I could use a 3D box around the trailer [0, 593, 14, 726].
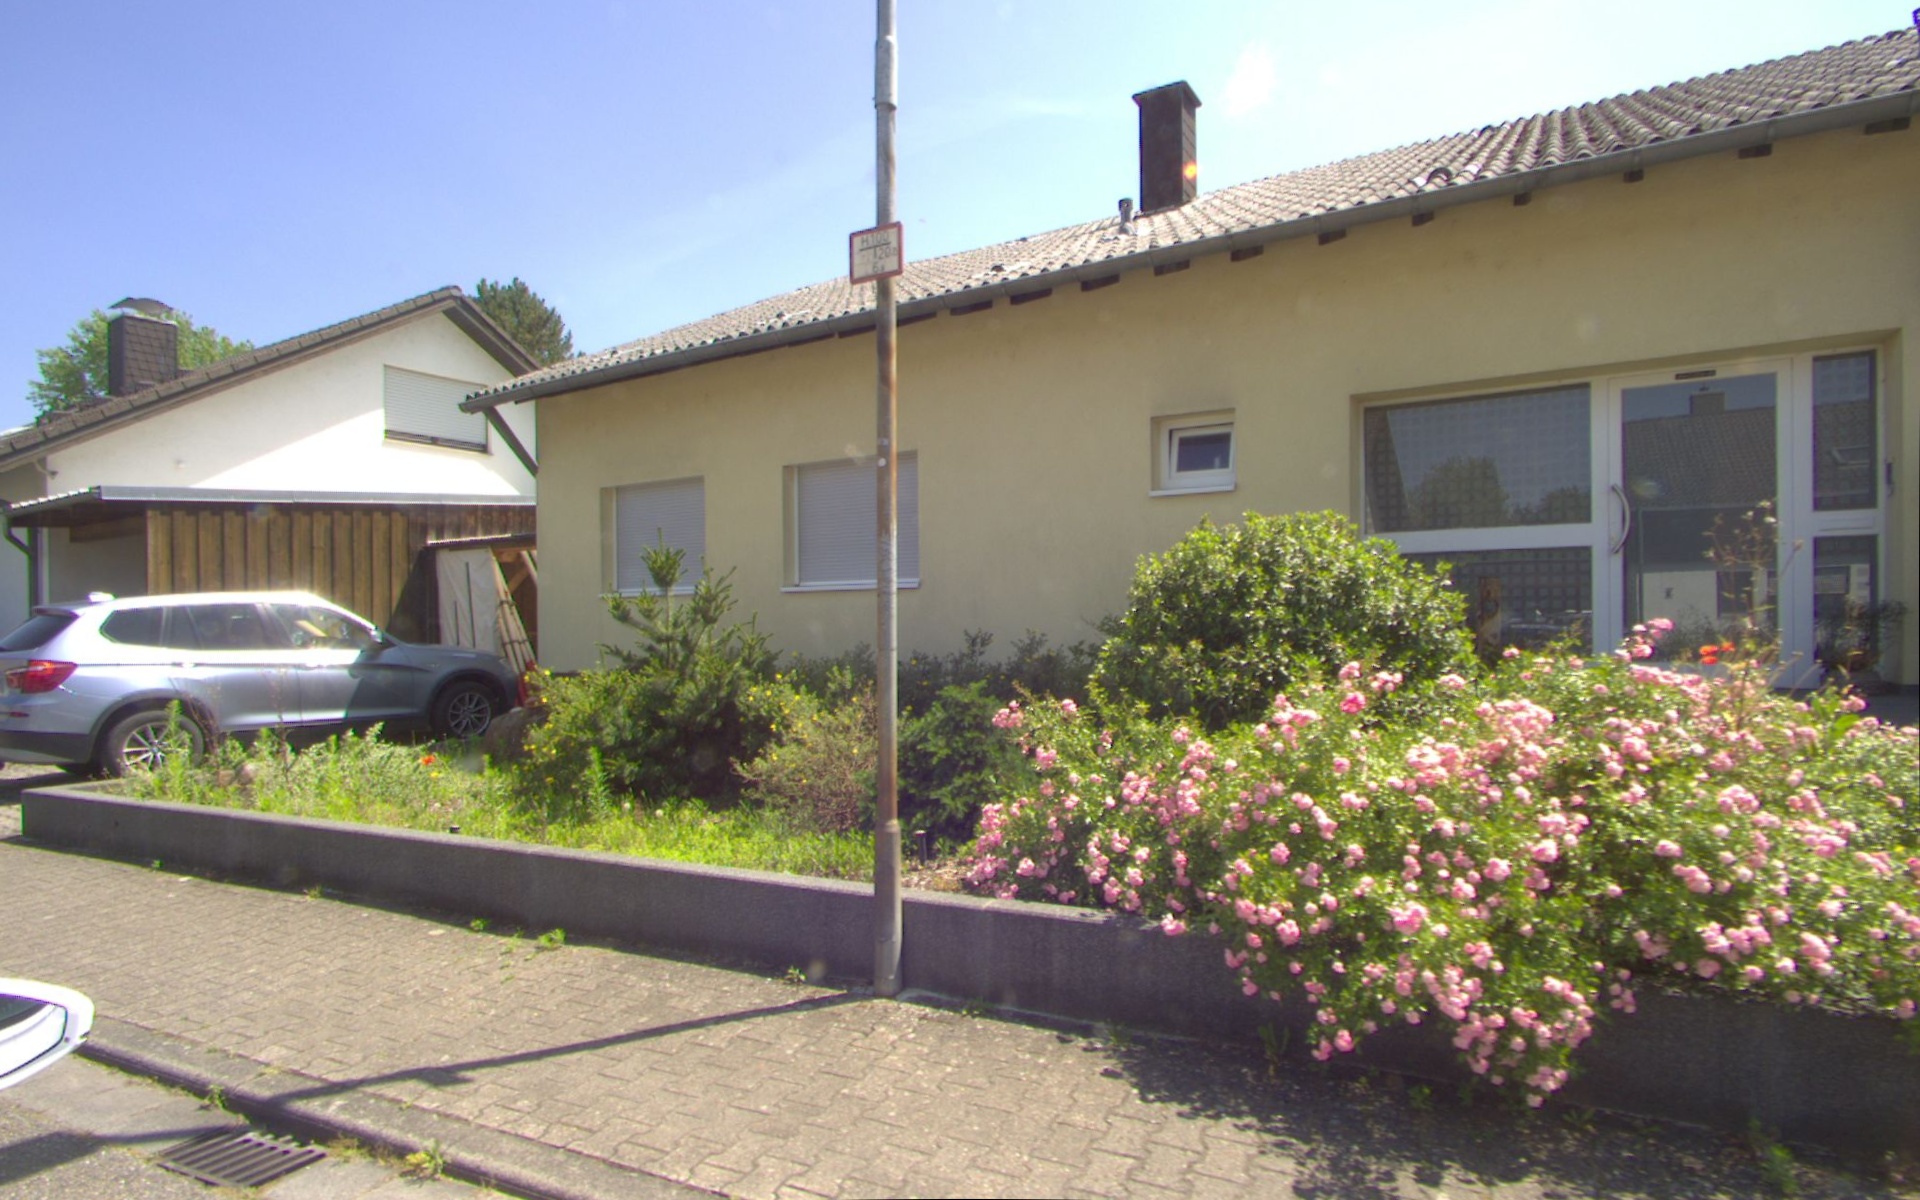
[{"bbox_3d":[-13.916,0.765,13.014,3.249,1.695,1.583,0,1,32],"label":"trailer"}]

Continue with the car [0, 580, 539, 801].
[{"bbox_3d":[-6.885,0.690,10.193,1.686,1.725,4.614,-1,1,34],"label":"car"}]
